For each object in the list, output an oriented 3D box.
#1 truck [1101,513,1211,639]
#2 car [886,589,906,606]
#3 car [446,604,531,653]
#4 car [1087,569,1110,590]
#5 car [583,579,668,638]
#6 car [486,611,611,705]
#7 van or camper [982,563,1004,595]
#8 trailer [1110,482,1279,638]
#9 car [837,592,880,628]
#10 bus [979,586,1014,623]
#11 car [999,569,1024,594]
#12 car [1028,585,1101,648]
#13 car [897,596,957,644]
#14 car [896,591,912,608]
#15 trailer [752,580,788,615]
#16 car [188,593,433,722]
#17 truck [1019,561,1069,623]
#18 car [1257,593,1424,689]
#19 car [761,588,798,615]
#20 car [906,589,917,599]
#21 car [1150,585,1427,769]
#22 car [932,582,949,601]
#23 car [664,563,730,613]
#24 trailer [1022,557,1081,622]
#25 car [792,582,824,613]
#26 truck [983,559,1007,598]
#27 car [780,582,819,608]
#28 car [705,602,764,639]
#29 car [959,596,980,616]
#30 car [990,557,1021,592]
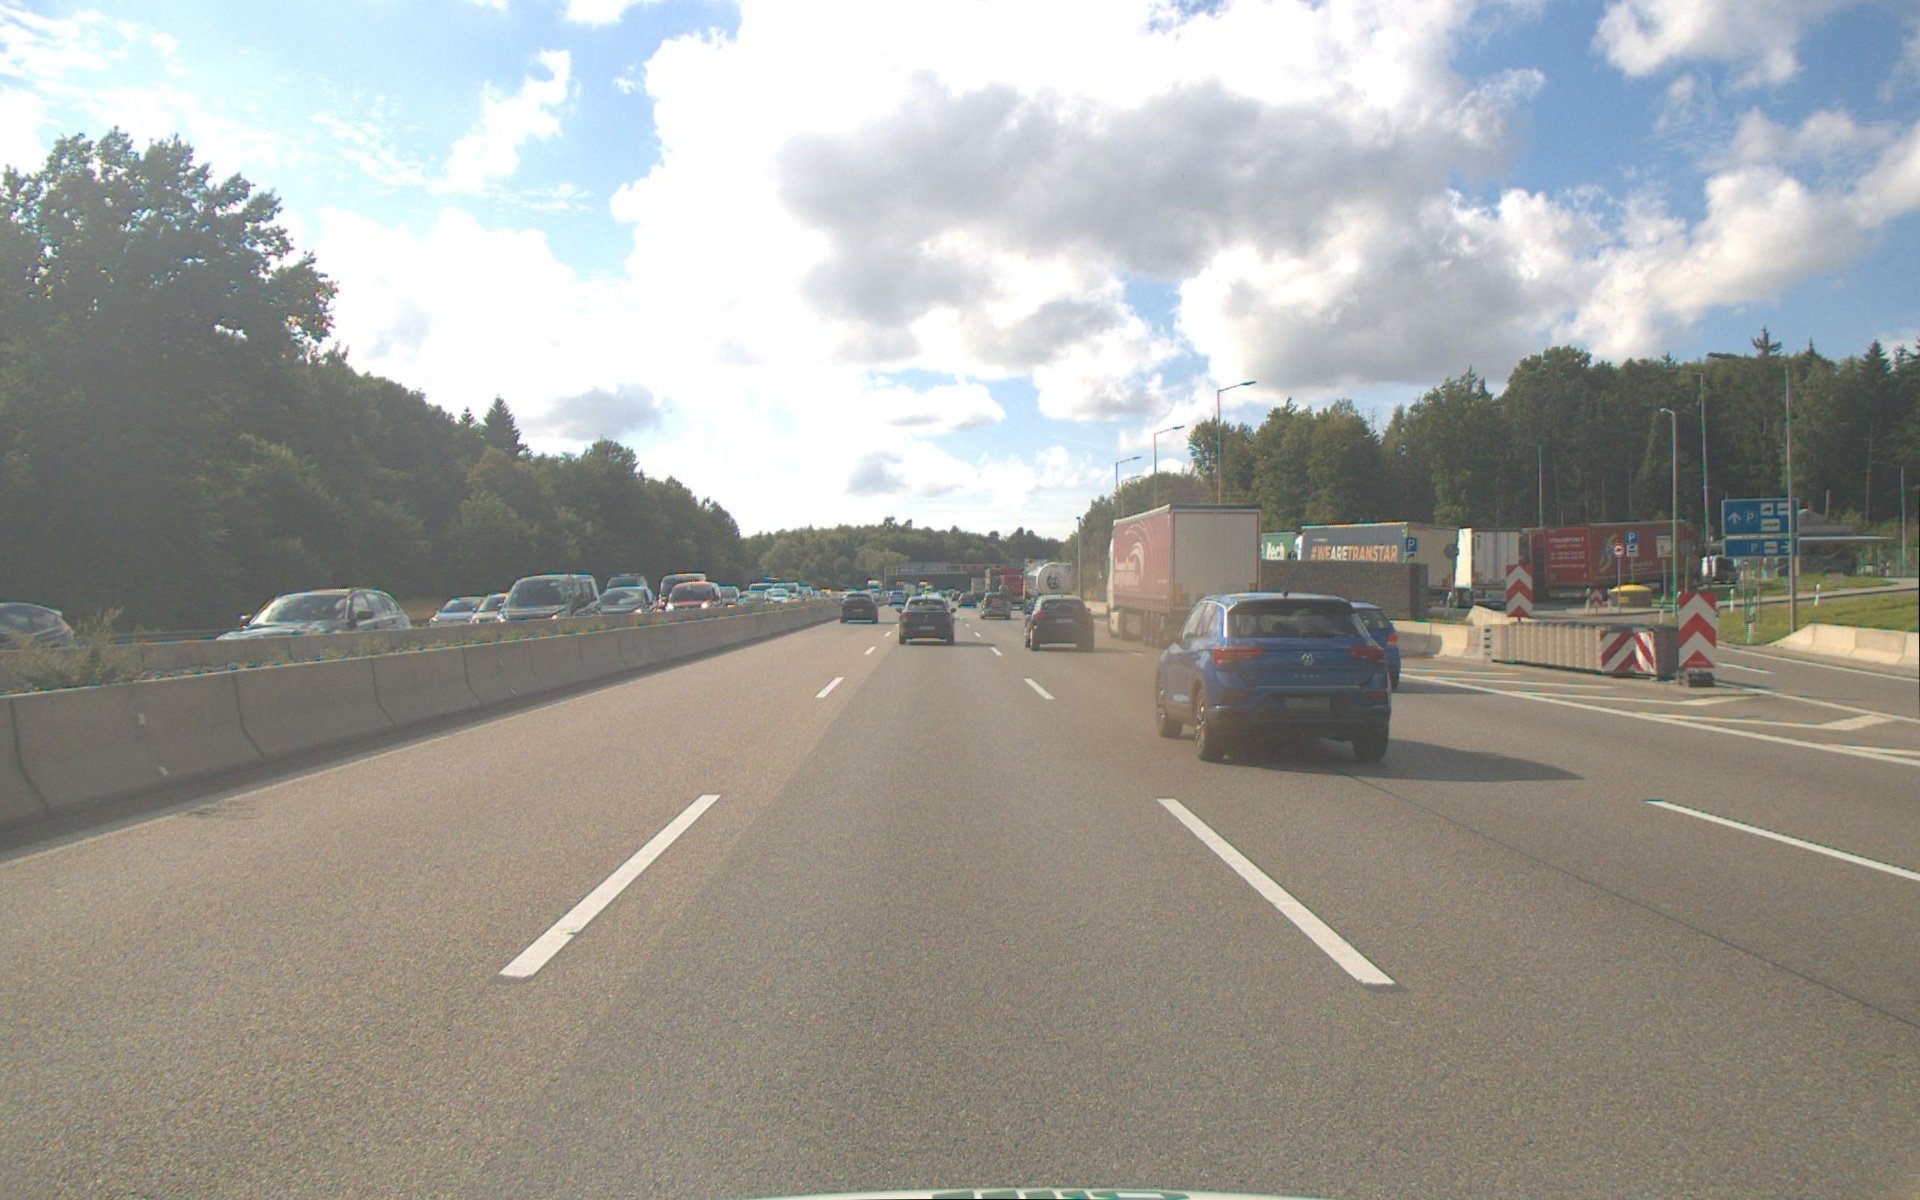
[{"bbox_3d":[6.768,-0.731,58.002,3.018,4.135,6.067,1,-2,-1],"label":"truck"},{"bbox_3d":[-7.089,-0.299,183.227,2.111,1.807,3.999,1,-1,-1],"label":"car"},{"bbox_3d":[-17.948,1.056,63.172,1.953,1.793,4.459,1,0,0],"label":"car"},{"bbox_3d":[14.263,-2.088,170.825,1.953,2.049,3.999,-1,0,-1],"label":"car"},{"bbox_3d":[-10.727,0.294,53.310,1.820,1.793,4.458,1,-1,0],"label":"car"},{"bbox_3d":[-9.560,1.346,38.788,1.779,2.049,4.451,1,-2,0],"label":"car"},{"bbox_3d":[3.655,-2.288,181.832,2.303,3.199,5.710,1,-2,0],"label":"van or camper"},{"bbox_3d":[6.897,-0.908,51.168,2.977,4.106,13.885,1,-2,-1],"label":"trailer"},{"bbox_3d":[-5.178,0.504,84.701,1.953,1.807,3.999,0,0,-1],"label":"car"},{"bbox_3d":[2.168,0.294,98.736,1.953,2.049,3.999,1,-2,-1],"label":"bus"},{"bbox_3d":[4.567,-1.593,146.904,1.953,2.049,3.998,1,-2,-1],"label":"car"},{"bbox_3d":[2.905,0.461,46.687,1.762,1.673,3.999,1,-1,-1],"label":"car"},{"bbox_3d":[-1.062,0.626,51.539,1.700,1.389,3.997,1,-1,-3],"label":"car"},{"bbox_3d":[-7.172,-0.062,211.281,1.954,2.049,3.997,1,0,-3],"label":"car"},{"bbox_3d":[-15.568,-0.198,136.217,2.233,2.834,8.538,1,0,-2],"label":"trailer"},{"bbox_3d":[-9.794,0.863,25.358,1.953,1.790,4.458,1,-2,0],"label":"car"},{"bbox_3d":[5.927,-0.515,117.880,2.984,4.233,7.123,0,-1,-2],"label":"truck"},{"bbox_3d":[6.586,0.700,29.099,1.681,1.538,4.298,-1,-1,-4],"label":"car"},{"bbox_3d":[-11.043,0.062,101.396,1.729,1.600,4.357,1,0,0],"label":"car"},{"bbox_3d":[-7.345,-0.924,251.137,1.590,1.496,3.814,1,0,0],"label":"car"},{"bbox_3d":[3.152,0.656,16.850,1.885,1.568,4.645,1,1,0],"label":"car"},{"bbox_3d":[-2.248,-0.969,191.830,1.953,2.049,3.998,-1,-2,-1],"label":"car"},{"bbox_3d":[-9.831,-0.438,62.200,1.838,1.793,5.291,1,0,-3],"label":"car"},{"bbox_3d":[6.067,-0.612,111.661,2.975,4.086,12.240,0,-1,-1],"label":"trailer"},{"bbox_3d":[-11.003,-0.158,119.903,1.953,2.049,4.674,1,-2,-2],"label":"car"},{"bbox_3d":[3.629,-2.232,174.667,2.310,3.635,11.265,1,-2,0],"label":"truck"},{"bbox_3d":[-10.651,-0.358,110.027,1.953,1.600,5.329,2,0,0],"label":"car"},{"bbox_3d":[-10.376,0.906,76.394,1.953,1.600,5.207,1,0,0],"label":"car"},{"bbox_3d":[0.960,0.619,168.497,1.953,2.049,3.999,1,-1,-1],"label":"car"},{"bbox_3d":[4.279,-2.423,157.393,2.808,3.044,5.148,1,-2,0],"label":"car"}]
